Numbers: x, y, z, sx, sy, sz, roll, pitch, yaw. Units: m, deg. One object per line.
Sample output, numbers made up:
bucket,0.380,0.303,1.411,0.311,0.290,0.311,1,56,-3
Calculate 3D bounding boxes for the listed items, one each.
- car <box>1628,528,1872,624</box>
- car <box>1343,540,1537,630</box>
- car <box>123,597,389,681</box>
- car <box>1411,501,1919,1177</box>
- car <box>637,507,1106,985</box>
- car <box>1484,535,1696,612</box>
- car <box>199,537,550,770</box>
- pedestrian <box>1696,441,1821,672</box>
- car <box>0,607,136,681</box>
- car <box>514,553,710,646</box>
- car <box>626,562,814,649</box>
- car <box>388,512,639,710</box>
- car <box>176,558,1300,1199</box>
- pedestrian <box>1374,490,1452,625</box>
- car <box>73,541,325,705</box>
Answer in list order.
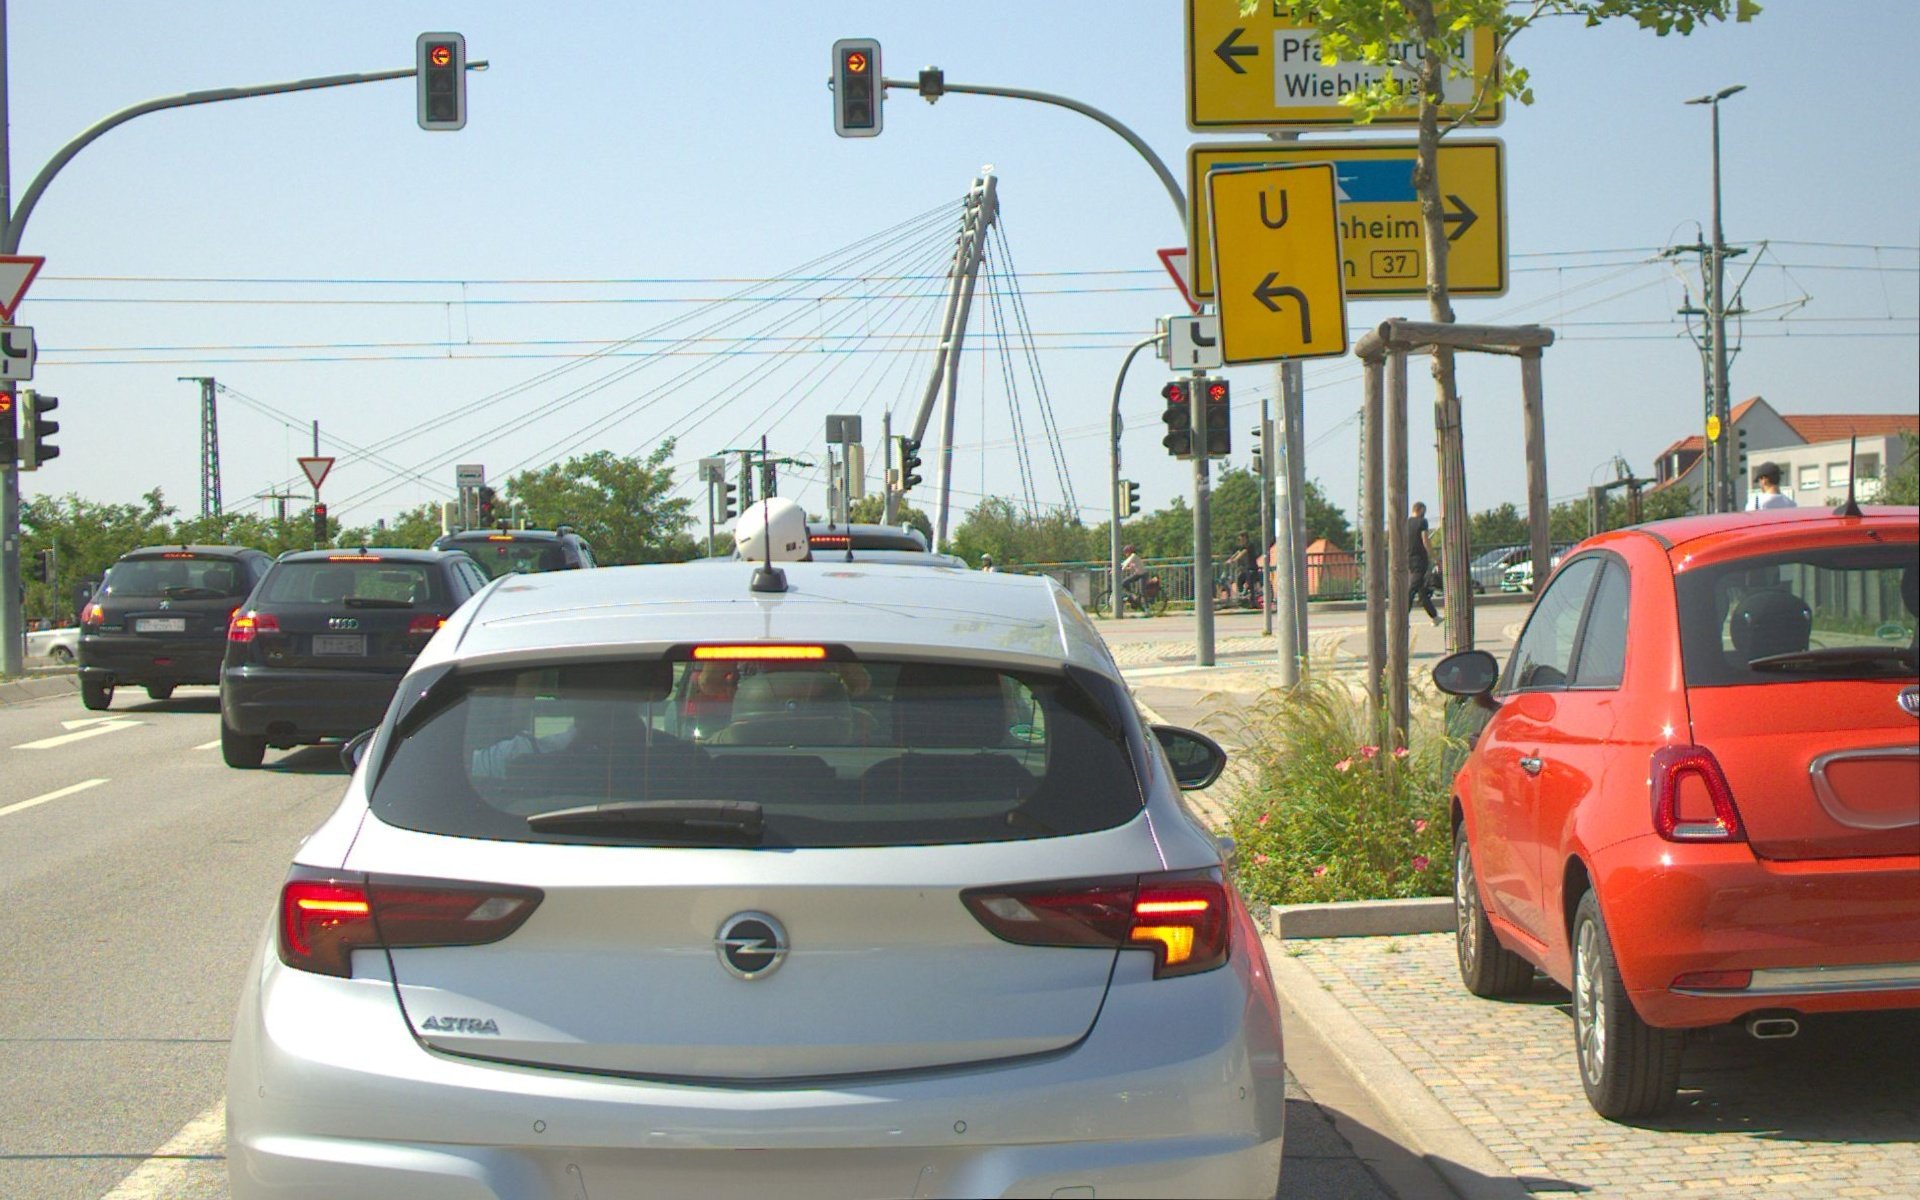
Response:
car,14.196,-0.427,61.829,3.814,1.623,1.857,1,0,-14
car,11.169,-0.348,80.030,3.986,2.007,2.001,1,0,-20
car,-13.207,0.721,64.527,4.475,1.450,1.998,1,0,17
car,2.379,0.509,10.024,1.669,1.534,3.917,-2,1,2
car,-0.358,0.519,14.127,1.634,1.668,3.745,1,0,-1
car,14.137,-0.593,77.194,4.244,1.668,2.001,0,0,-18
car,-3.881,0.329,23.375,1.705,1.407,4.000,1,0,0
pedestrian,6.439,-0.344,27.745,0.758,1.823,0.885,1,0,-1
car,-21.586,1.014,80.526,4.201,1.639,1.831,1,0,25
car,-7.760,-0.012,76.809,3.988,2.007,1.999,-1,0,7
car,-4.110,0.092,59.120,3.143,1.434,1.586,1,0,-2
car,-4.050,0.090,31.724,1.803,1.616,3.917,-3,0,-1
car,-0.381,0.673,7.327,1.690,1.514,4.271,0,1,-1
pedestrian,6.309,-0.588,47.883,0.740,1.857,0.754,1,0,-29
car,-6.783,0.191,30.915,1.587,1.390,3.340,0,0,-1
